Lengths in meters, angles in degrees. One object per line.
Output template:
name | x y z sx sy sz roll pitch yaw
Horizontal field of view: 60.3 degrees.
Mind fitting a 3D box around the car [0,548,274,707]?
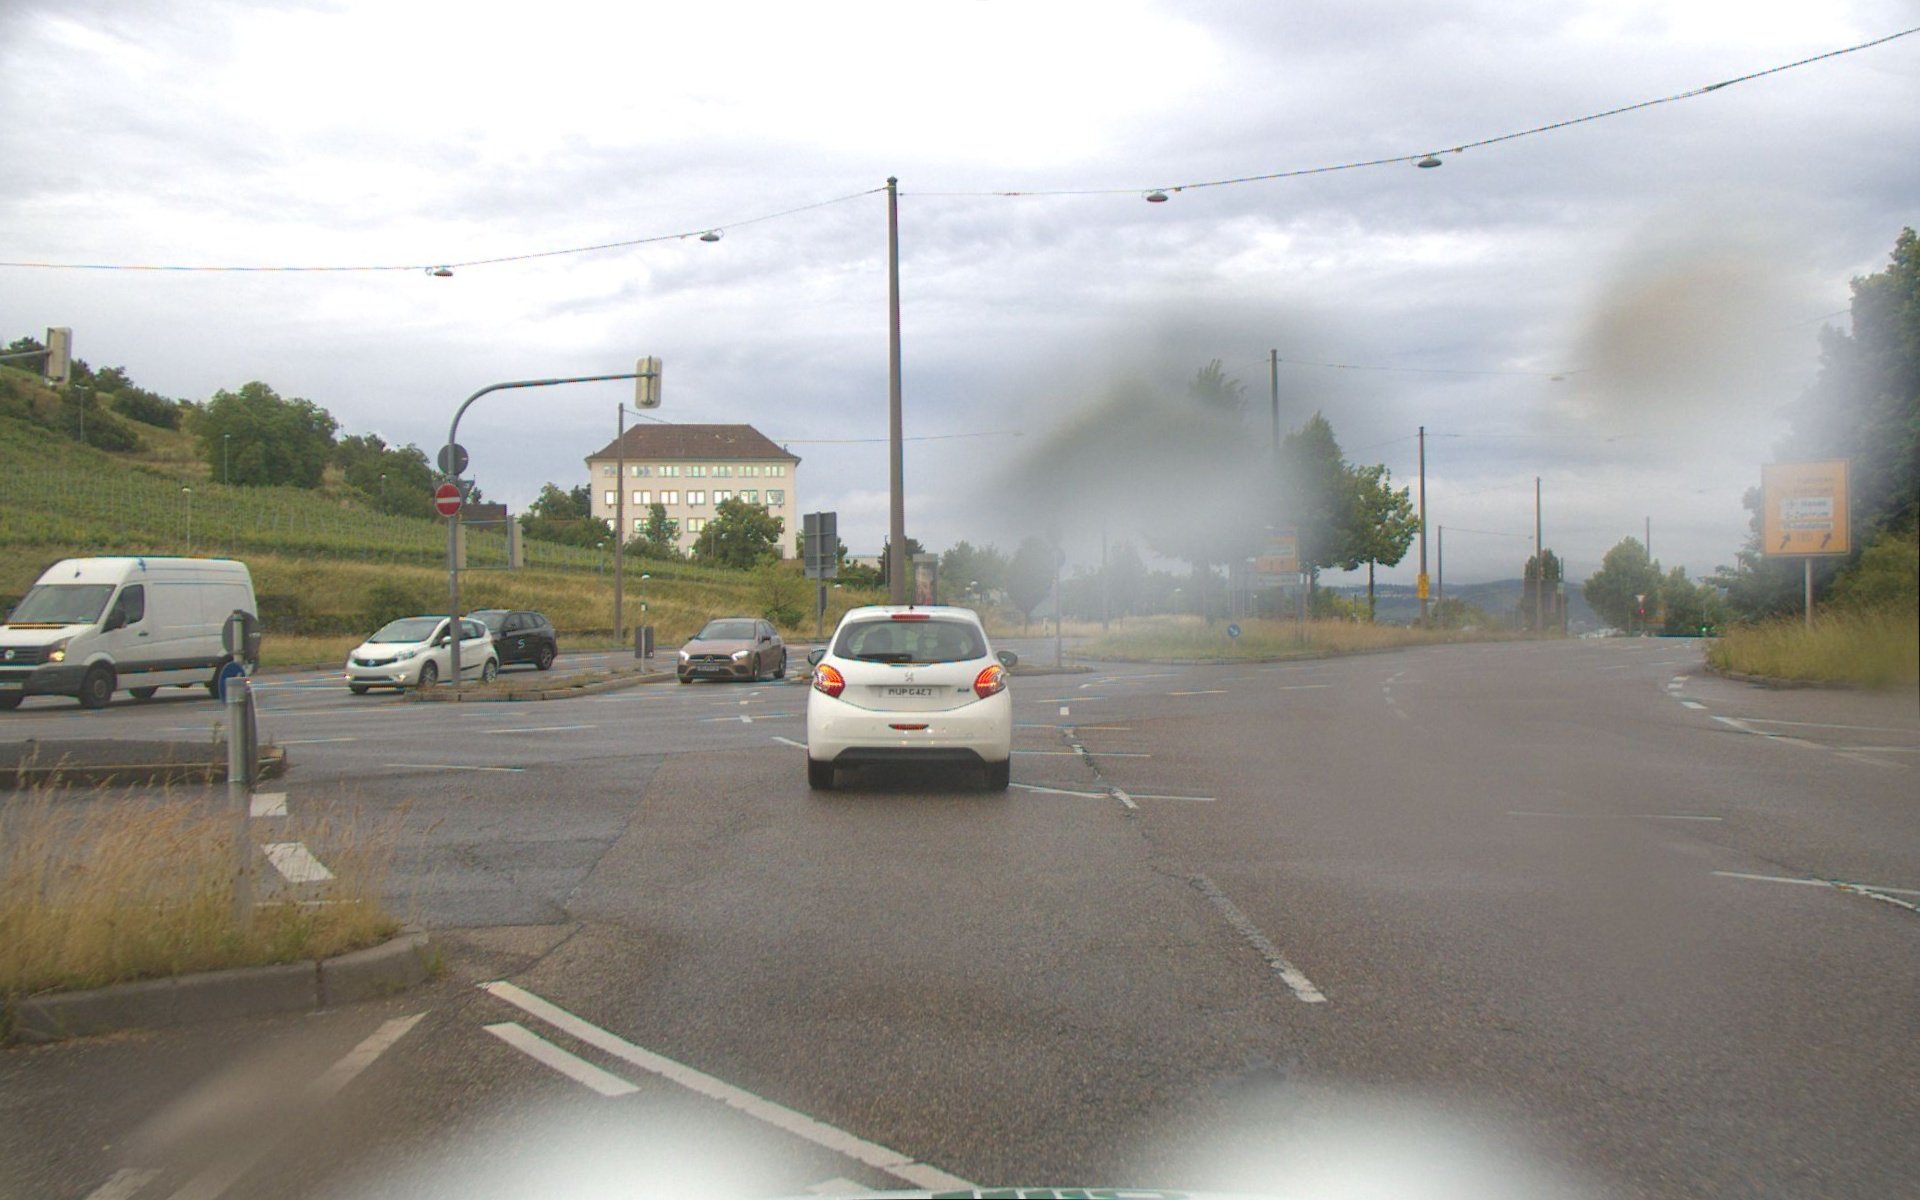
car | -15.226 0.464 30.385 1.951 2.604 6.174 1 0 8

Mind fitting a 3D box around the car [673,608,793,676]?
car | -5.170 0.930 38.199 1.738 1.450 4.377 -1 -1 6

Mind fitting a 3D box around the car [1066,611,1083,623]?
car | 14.758 2.149 212.785 1.804 1.512 3.999 -1 0 -1

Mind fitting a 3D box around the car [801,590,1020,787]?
car | -0.338 0.693 14.756 1.682 1.515 4.000 0 0 1

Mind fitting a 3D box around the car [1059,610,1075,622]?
car | 14.294 2.180 221.177 1.804 1.512 3.999 -1 0 -1

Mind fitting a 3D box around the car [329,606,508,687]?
car | -11.169 0.926 34.391 1.713 1.539 4.003 1 0 12

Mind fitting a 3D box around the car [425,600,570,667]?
car | -12.213 0.852 43.995 1.738 1.665 4.512 1 0 13
